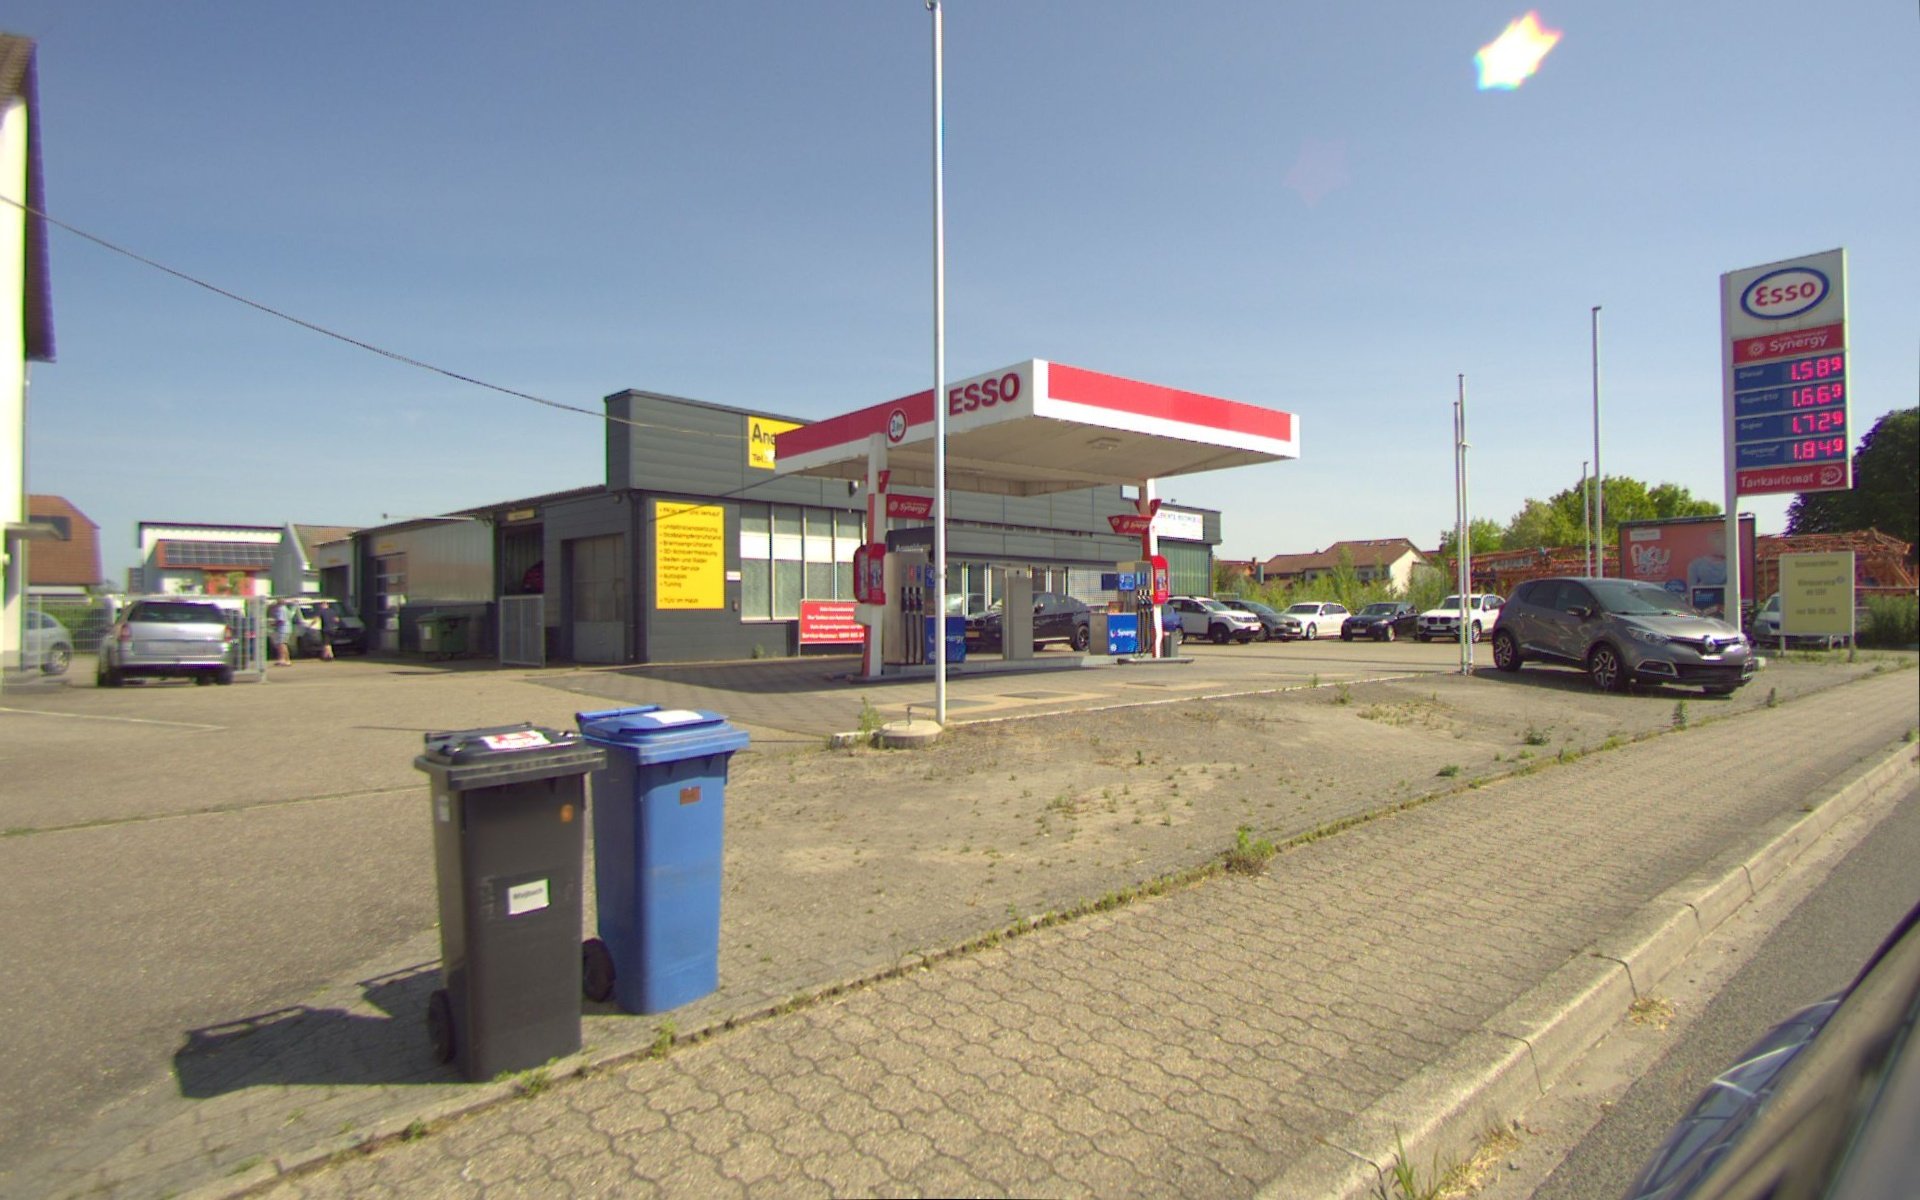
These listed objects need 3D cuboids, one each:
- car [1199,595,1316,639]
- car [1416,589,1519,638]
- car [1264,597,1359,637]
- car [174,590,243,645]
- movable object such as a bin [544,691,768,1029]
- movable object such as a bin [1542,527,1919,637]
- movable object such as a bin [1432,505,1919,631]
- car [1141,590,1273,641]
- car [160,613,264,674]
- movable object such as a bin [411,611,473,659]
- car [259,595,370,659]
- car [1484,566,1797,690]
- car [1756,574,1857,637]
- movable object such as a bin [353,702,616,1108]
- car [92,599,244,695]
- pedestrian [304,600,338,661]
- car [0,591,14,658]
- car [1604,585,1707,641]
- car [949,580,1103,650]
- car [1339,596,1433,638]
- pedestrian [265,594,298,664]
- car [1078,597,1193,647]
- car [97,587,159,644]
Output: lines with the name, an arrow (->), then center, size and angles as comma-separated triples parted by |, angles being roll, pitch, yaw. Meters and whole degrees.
car -> 10.767, 0.612, 36.744 | 1.781, 1.493, 3.681 | -1, 0, -43
car -> 17.818, 0.442, 35.452 | 1.999, 1.612, 4.269 | -2, 0, 44
car -> 13.717, 0.641, 39.385 | 1.841, 1.404, 4.306 | -2, 0, 44
car -> -39.008, 0.903, 52.456 | 5.172, 2.735, 1.993 | -1, -1, 43
movable object such as a bin -> -1.027, 0.814, 3.420 | 0.557, 0.951, 0.507 | -1, -1, 41
movable object such as a bin -> 33.562, -0.599, 44.852 | 2.812, 4.218, 13.278 | 0, -1, -39
movable object such as a bin -> 27.123, -0.918, 39.533 | 2.724, 4.070, 16.082 | 0, -1, -39
car -> 8.523, 0.539, 35.143 | 1.781, 1.655, 4.144 | -1, 0, -43
car -> -19.414, 1.150, 26.208 | 1.781, 1.394, 3.622 | -1, -3, -43
movable object such as a bin -> -14.744, 0.987, 28.791 | 1.170, 1.312, 1.258 | -2, -1, 43
car -> -21.403, 0.868, 33.469 | 5.166, 1.928, 1.904 | -1, 0, 43
car -> 9.795, 0.311, 15.048 | 1.740, 1.574, 4.183 | 1, 1, -1
car -> 24.859, 0.175, 29.668 | 4.295, 1.708, 1.806 | 1, -1, -44
movable object such as a bin -> -1.377, 0.806, 2.932 | 0.557, 0.948, 0.507 | -1, -1, 41
car -> -14.053, 0.809, 17.880 | 1.781, 1.499, 4.065 | 2, -3, -42
pedestrian -> -18.945, 0.906, 30.017 | 0.647, 1.769, 0.638 | -2, -1, 36
car -> -45.924, 1.162, 46.922 | 2.722, 2.961, 7.352 | -1, 0, -41
car -> 21.640, 0.380, 31.425 | 1.970, 1.612, 3.936 | -2, 0, 44
car -> 1.931, 0.452, 28.246 | 1.801, 1.764, 4.747 | -3, -3, 40
car -> 15.628, 0.597, 37.006 | 1.841, 1.404, 3.936 | -2, 0, 44
pedestrian -> -18.640, 0.795, 27.790 | 0.500, 1.889, 0.602 | -2, -1, 34
car -> 5.717, 0.670, 32.695 | 1.791, 1.450, 4.065 | -2, 0, 41
car -> -42.318, 0.794, 51.426 | 5.172, 2.735, 1.765 | -1, -1, 43
